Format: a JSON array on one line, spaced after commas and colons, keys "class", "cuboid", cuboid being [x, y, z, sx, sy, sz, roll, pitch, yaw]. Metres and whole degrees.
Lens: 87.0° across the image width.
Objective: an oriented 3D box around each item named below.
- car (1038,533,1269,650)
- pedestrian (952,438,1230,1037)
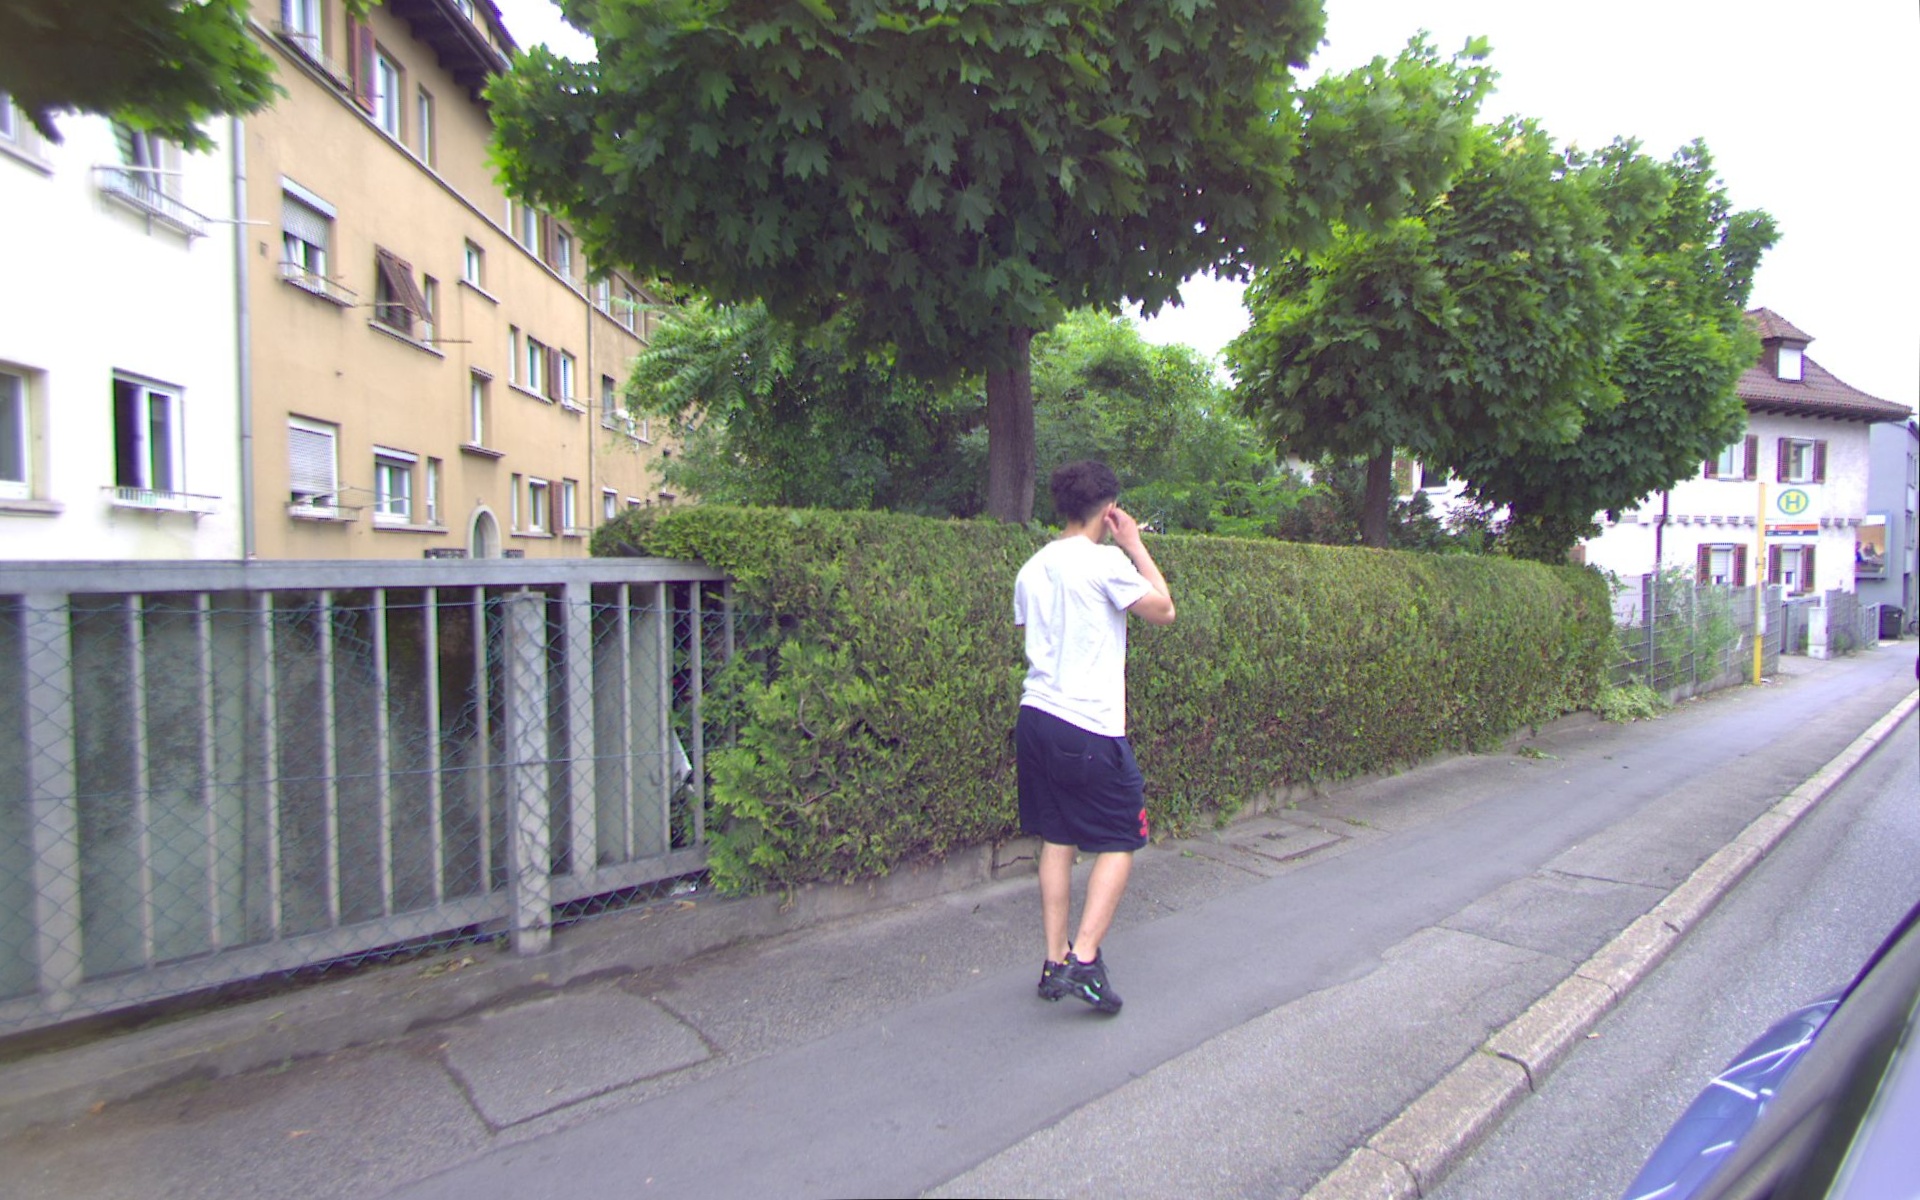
[{"class": "car", "cuboid": [3.577, -0.164, 19.245, 3.923, 2.039, 2.001, 1, 1, -1]}, {"class": "pedestrian", "cuboid": [0.414, 0.384, 3.355, 0.459, 1.758, 0.695, 0, 4, -42]}]
